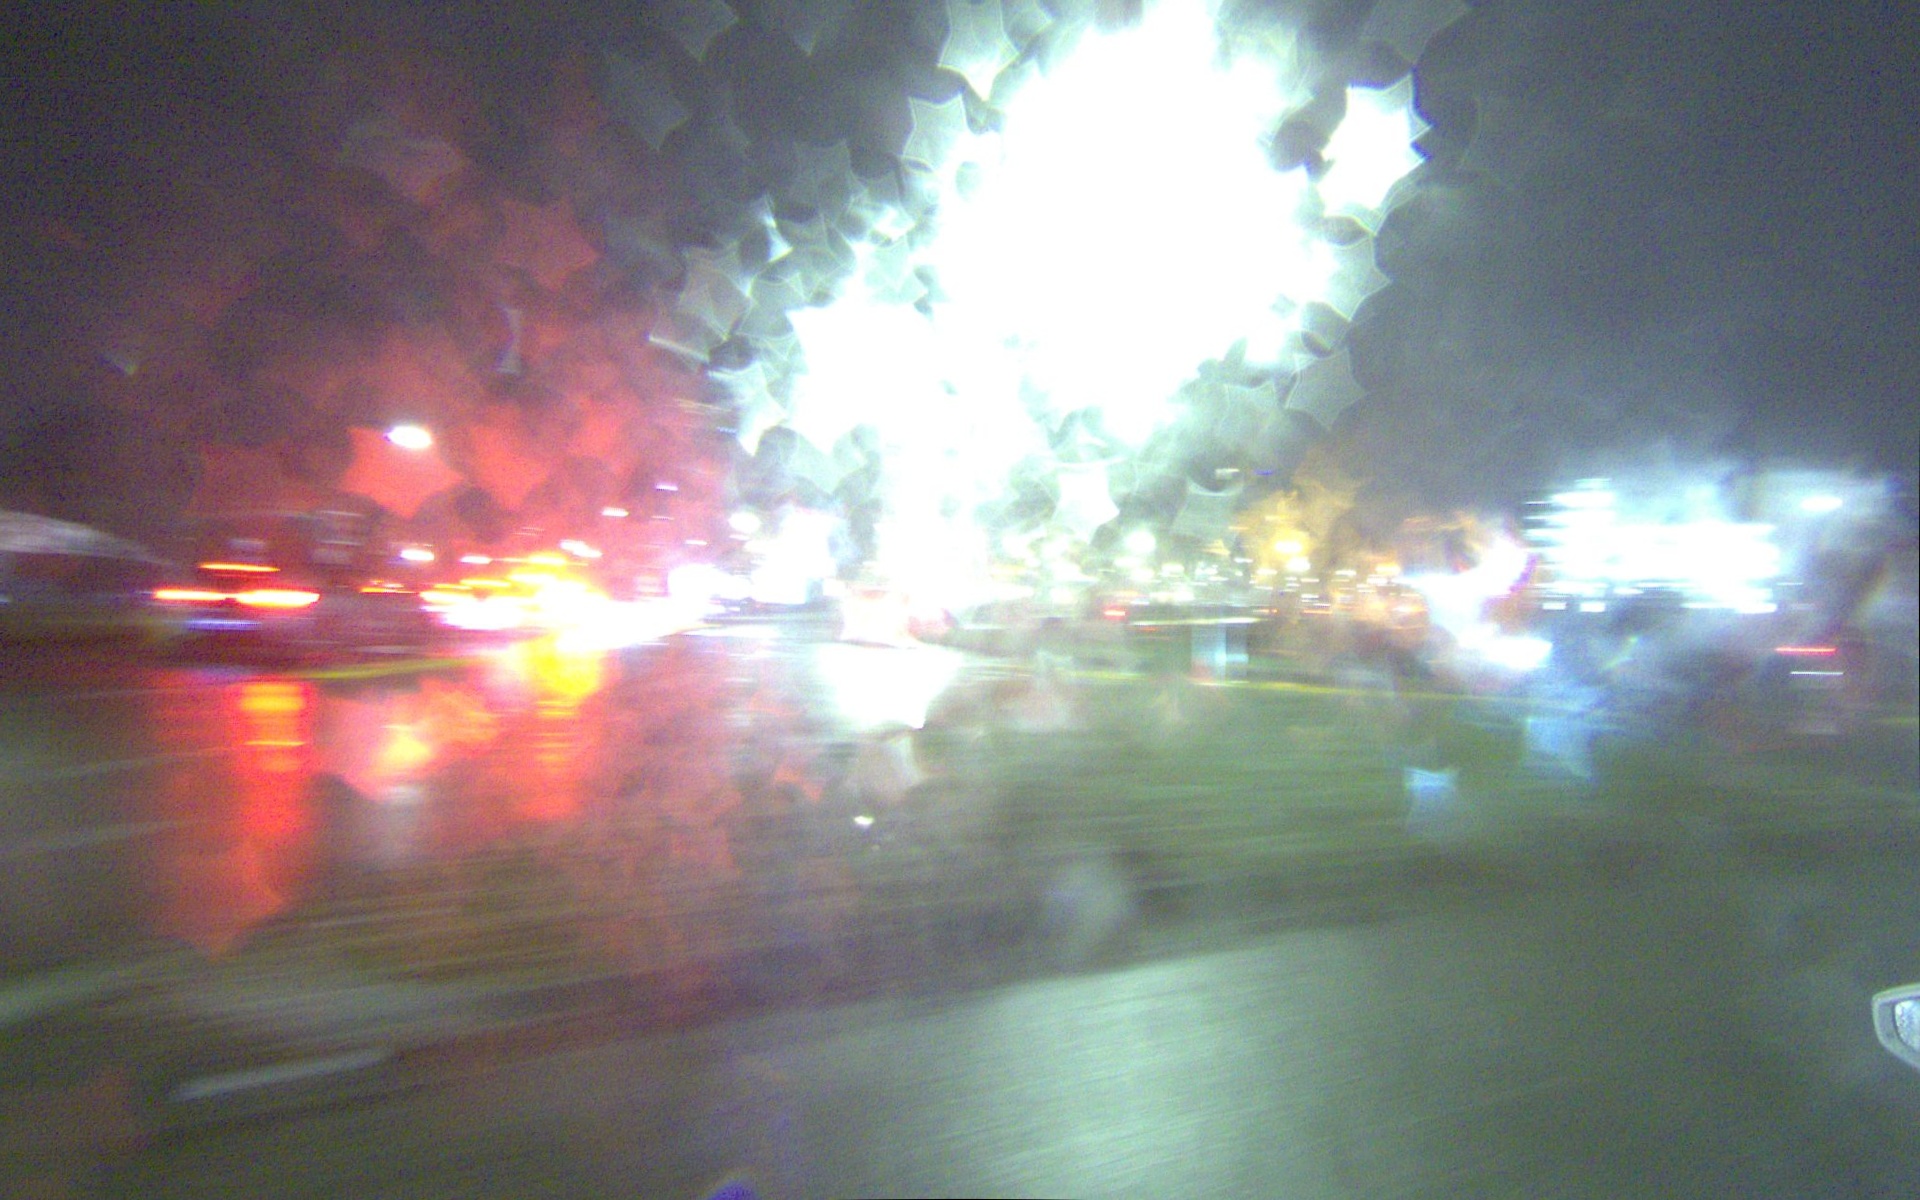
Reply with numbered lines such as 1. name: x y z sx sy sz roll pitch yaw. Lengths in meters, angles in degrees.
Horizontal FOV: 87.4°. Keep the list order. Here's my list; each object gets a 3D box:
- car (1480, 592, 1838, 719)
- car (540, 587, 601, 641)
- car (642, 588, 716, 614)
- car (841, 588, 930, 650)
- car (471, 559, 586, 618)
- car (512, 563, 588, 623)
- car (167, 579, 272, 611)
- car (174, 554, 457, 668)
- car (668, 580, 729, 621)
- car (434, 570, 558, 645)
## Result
1. car: 11.333 0.811 16.760 4.531 1.759 1.998 2 2 24
2. car: -13.145 0.416 33.847 1.810 1.638 3.978 0 2 -22
3. car: -17.018 0.069 60.813 3.971 1.464 1.818 0 2 -30
4. car: -2.286 0.510 29.864 1.834 1.662 3.876 1 2 -17
5. car: -17.153 -0.517 39.677 2.495 2.117 6.239 0 2 -40
6. car: -11.705 -0.236 28.874 1.710 1.600 3.948 1 2 -18
7. car: -36.303 -0.239 49.381 3.971 1.464 1.818 0 2 -30
8. car: -10.286 0.114 16.433 1.702 1.600 3.966 1 2 8
9. car: -10.400 -0.017 39.763 1.744 1.506 3.976 0 2 -24
10. car: -10.808 0.117 23.679 1.844 1.600 3.954 1 2 -13
